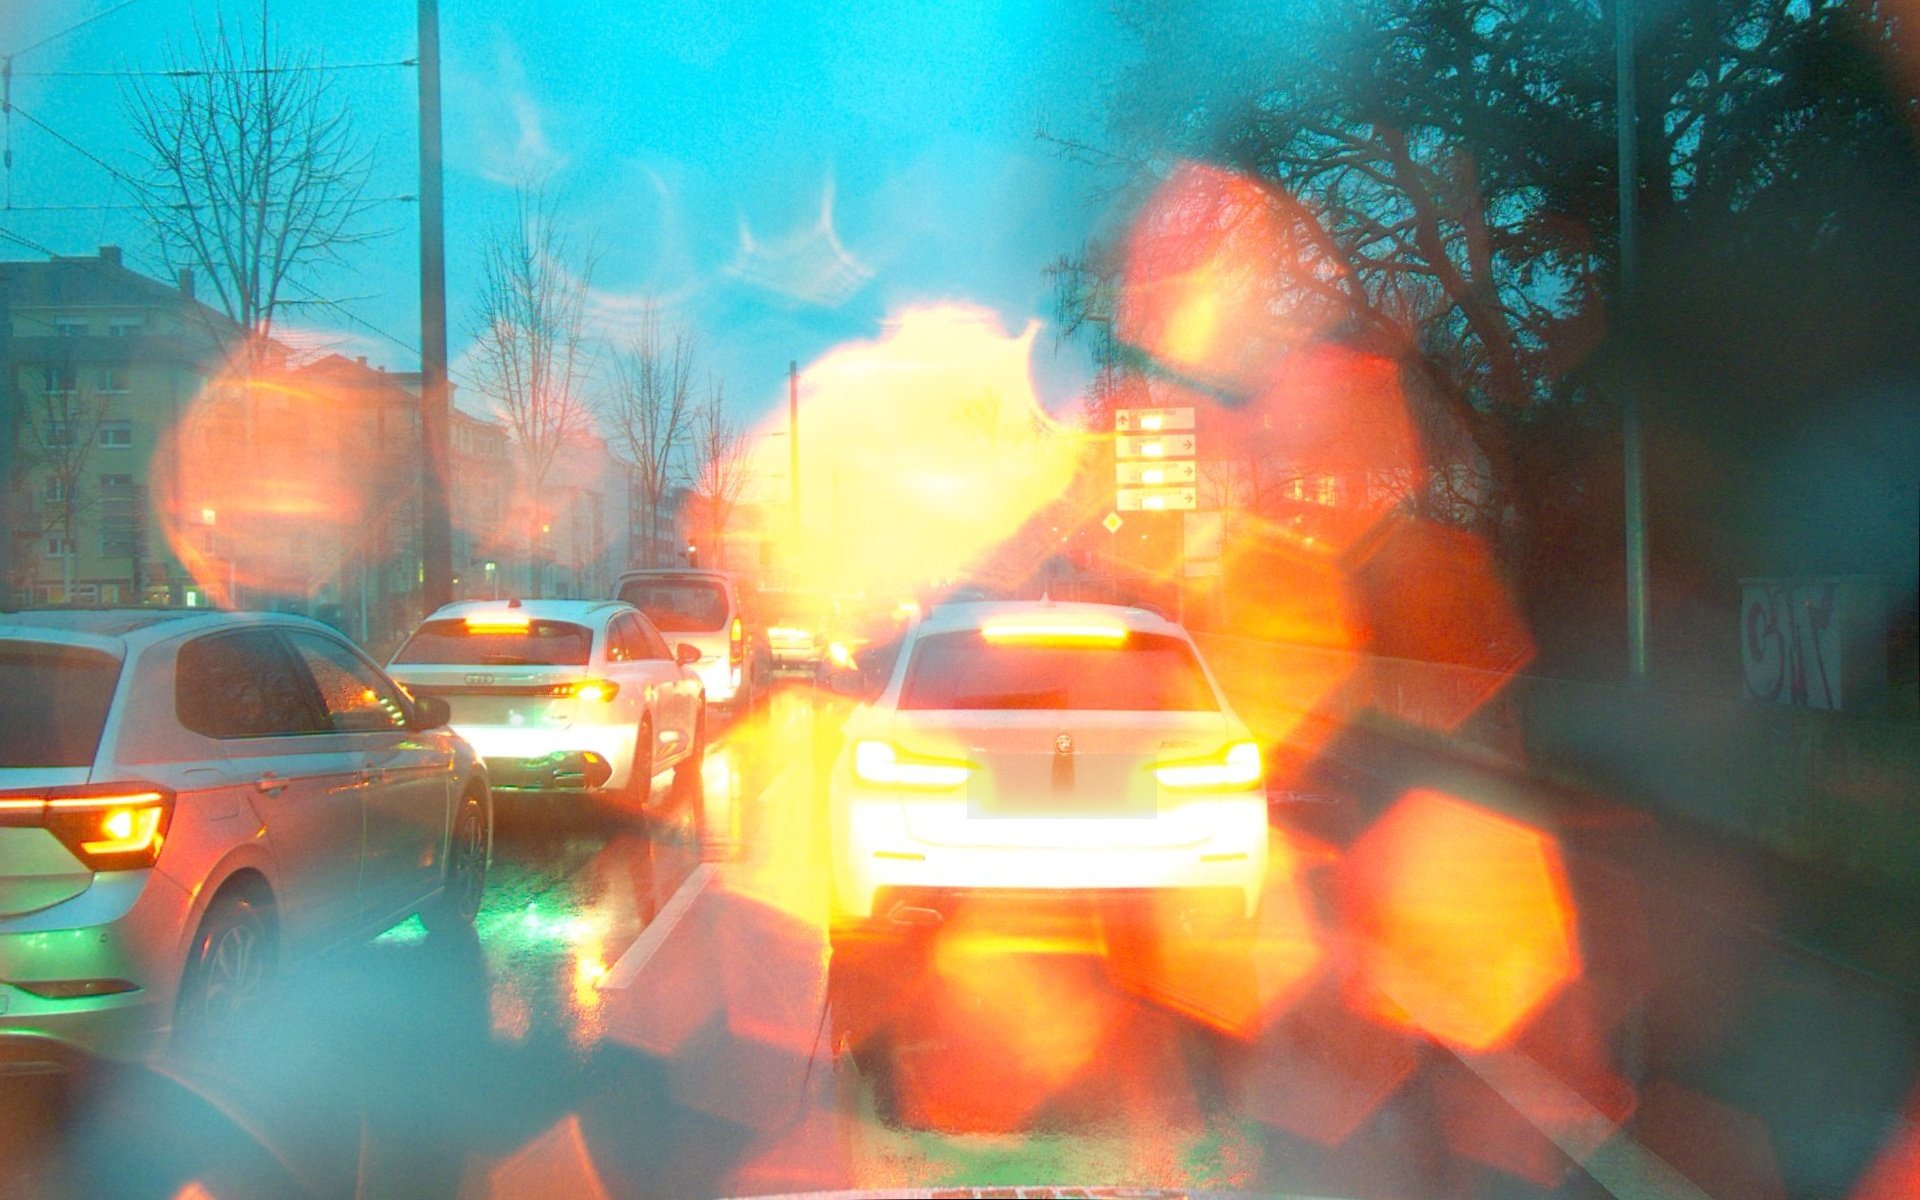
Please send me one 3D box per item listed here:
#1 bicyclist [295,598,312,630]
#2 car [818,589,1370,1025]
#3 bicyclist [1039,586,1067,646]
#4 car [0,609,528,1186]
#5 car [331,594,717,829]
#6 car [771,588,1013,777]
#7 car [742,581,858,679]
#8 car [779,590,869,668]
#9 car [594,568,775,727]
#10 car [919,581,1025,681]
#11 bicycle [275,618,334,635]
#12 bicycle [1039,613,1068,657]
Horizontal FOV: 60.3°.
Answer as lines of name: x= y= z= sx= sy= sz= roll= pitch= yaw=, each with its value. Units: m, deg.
bicyclist: x=-33.194 y=0.705 z=83.596 sx=0.778 sy=1.607 sz=0.633 roll=1 pitch=0 yaw=-25
car: x=0.449 y=0.719 z=7.939 sx=1.958 sy=1.534 sz=4.162 roll=0 pitch=0 yaw=-1
bicyclist: x=2.218 y=0.368 z=39.617 sx=0.632 sy=1.413 sz=0.890 roll=-1 pitch=0 yaw=1
car: x=-2.911 y=0.746 z=6.050 sx=1.727 sy=1.395 sz=3.980 roll=0 pitch=0 yaw=-2
car: x=-3.007 y=0.689 z=12.444 sx=1.809 sy=1.430 sz=4.612 roll=0 pitch=0 yaw=-2
car: x=-0.563 y=0.634 z=15.095 sx=1.896 sy=1.483 sz=4.162 roll=0 pitch=0 yaw=-1
car: x=-2.842 y=0.501 z=30.188 sx=1.770 sy=1.674 sz=3.999 roll=0 pitch=0 yaw=-1
car: x=-3.037 y=0.615 z=37.577 sx=1.770 sy=1.674 sz=3.999 roll=0 pitch=0 yaw=-1
car: x=-3.334 y=0.534 z=20.783 sx=1.758 sy=1.766 sz=4.534 roll=0 pitch=0 yaw=-4
car: x=0.173 y=0.503 z=29.789 sx=1.770 sy=1.674 sz=3.999 roll=0 pitch=0 yaw=-1
bicycle: x=-33.141 y=1.335 z=83.623 sx=2.734 sy=0.837 sz=0.633 roll=0 pitch=0 yaw=-26
bicycle: x=2.230 y=0.829 z=39.598 sx=0.632 sy=0.983 sz=2.047 roll=-1 pitch=0 yaw=1
